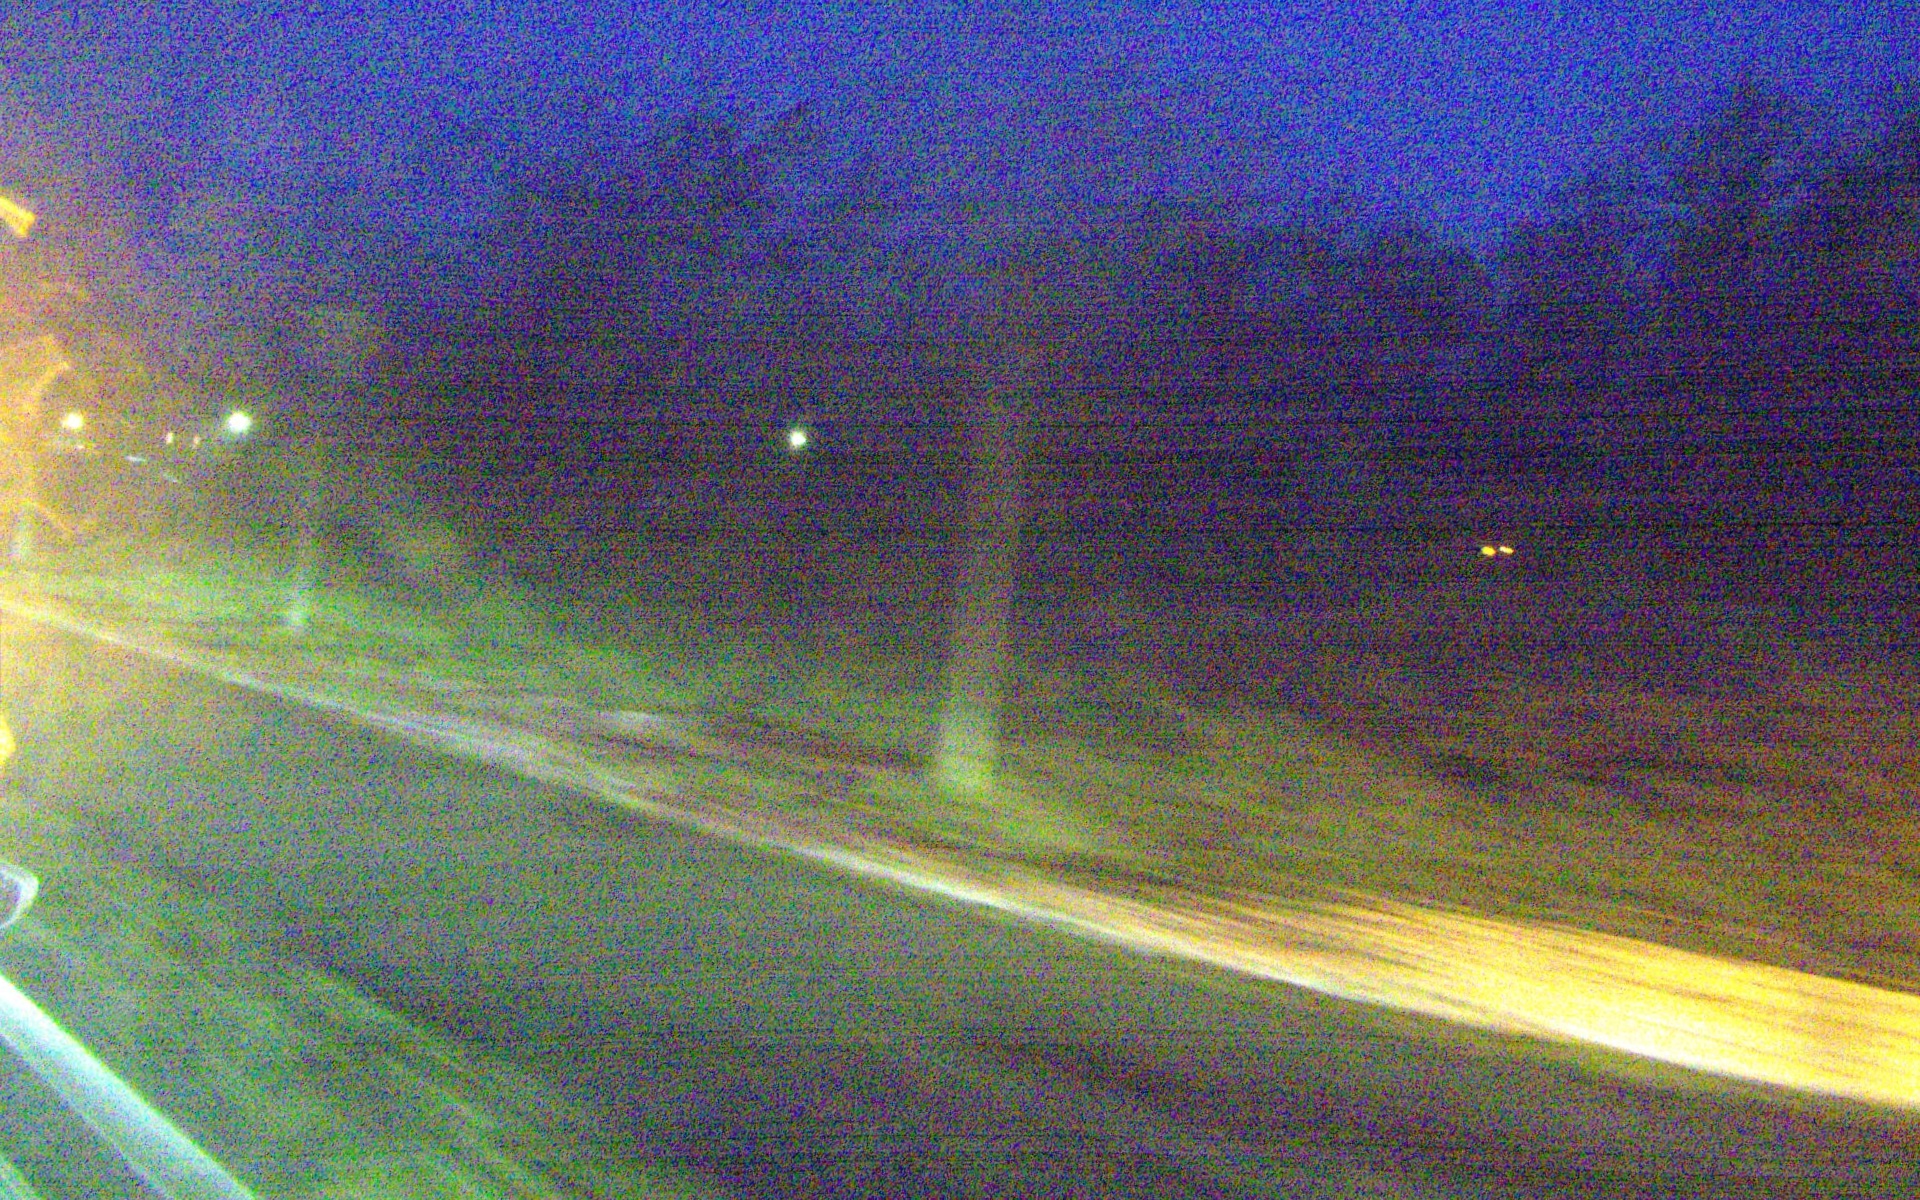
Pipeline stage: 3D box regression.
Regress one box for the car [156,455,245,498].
[{"bbox_3d":[-39.218,-6.358,51.966,3.925,1.659,1.619,7,-1,19],"label":"car"}]
